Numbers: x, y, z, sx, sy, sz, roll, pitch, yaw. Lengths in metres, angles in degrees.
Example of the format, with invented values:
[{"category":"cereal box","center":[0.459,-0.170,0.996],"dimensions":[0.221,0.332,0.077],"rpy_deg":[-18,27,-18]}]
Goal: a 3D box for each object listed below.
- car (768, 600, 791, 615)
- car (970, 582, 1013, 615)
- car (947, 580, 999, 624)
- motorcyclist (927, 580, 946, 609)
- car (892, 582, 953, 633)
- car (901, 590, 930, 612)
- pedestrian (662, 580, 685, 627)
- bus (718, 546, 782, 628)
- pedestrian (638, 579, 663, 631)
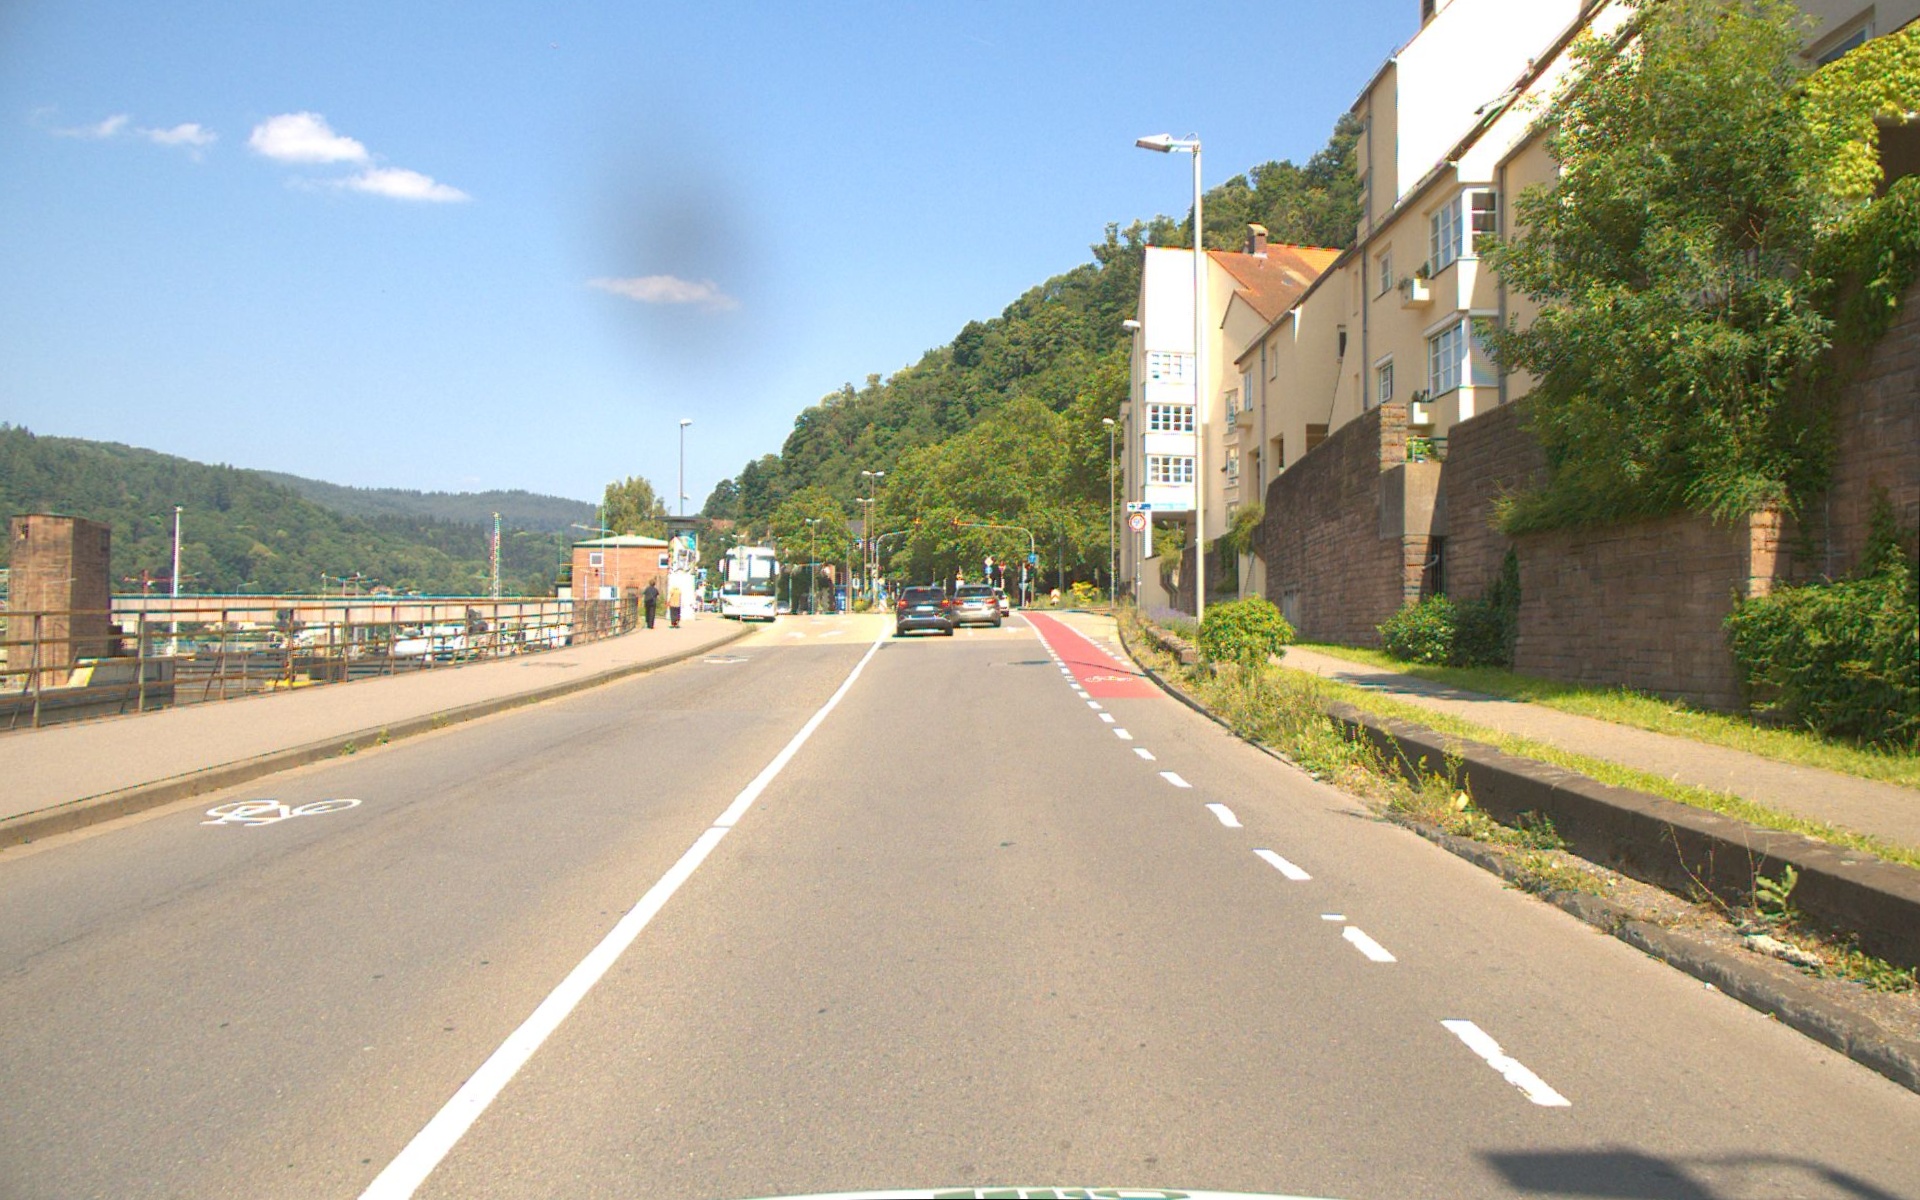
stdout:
[{"category":"car","center":[-18.511,0.775,169.655],"dimensions":[1.958,1.457,4.156],"rpy_deg":[-2,1,-11]},{"category":"car","center":[1.527,-0.068,81.445],"dimensions":[1.953,1.560,4.857],"rpy_deg":[0,0,-1]},{"category":"car","center":[0.442,0.067,60.575],"dimensions":[1.850,1.548,4.305],"rpy_deg":[0,0,-1]},{"category":"motorcyclist","center":[-1.369,-0.320,97.135],"dimensions":[1.054,1.713,1.156],"rpy_deg":[-1,0,-2]},{"category":"car","center":[-1.155,0.235,51.907],"dimensions":[1.831,1.540,4.150],"rpy_deg":[0,0,-1]},{"category":"car","center":[-2.999,0.061,111.216],"dimensions":[1.829,1.382,3.997],"rpy_deg":[-1,0,-3]},{"category":"pedestrian","center":[-10.121,0.138,58.485],"dimensions":[0.688,1.649,0.816],"rpy_deg":[-1,0,-3]},{"category":"bus","center":[-10.757,-0.590,85.604],"dimensions":[2.899,3.867,13.226],"rpy_deg":[-1,0,-6]},{"category":"pedestrian","center":[-10.590,0.170,56.614],"dimensions":[0.669,1.739,0.773],"rpy_deg":[-1,0,-1]}]
